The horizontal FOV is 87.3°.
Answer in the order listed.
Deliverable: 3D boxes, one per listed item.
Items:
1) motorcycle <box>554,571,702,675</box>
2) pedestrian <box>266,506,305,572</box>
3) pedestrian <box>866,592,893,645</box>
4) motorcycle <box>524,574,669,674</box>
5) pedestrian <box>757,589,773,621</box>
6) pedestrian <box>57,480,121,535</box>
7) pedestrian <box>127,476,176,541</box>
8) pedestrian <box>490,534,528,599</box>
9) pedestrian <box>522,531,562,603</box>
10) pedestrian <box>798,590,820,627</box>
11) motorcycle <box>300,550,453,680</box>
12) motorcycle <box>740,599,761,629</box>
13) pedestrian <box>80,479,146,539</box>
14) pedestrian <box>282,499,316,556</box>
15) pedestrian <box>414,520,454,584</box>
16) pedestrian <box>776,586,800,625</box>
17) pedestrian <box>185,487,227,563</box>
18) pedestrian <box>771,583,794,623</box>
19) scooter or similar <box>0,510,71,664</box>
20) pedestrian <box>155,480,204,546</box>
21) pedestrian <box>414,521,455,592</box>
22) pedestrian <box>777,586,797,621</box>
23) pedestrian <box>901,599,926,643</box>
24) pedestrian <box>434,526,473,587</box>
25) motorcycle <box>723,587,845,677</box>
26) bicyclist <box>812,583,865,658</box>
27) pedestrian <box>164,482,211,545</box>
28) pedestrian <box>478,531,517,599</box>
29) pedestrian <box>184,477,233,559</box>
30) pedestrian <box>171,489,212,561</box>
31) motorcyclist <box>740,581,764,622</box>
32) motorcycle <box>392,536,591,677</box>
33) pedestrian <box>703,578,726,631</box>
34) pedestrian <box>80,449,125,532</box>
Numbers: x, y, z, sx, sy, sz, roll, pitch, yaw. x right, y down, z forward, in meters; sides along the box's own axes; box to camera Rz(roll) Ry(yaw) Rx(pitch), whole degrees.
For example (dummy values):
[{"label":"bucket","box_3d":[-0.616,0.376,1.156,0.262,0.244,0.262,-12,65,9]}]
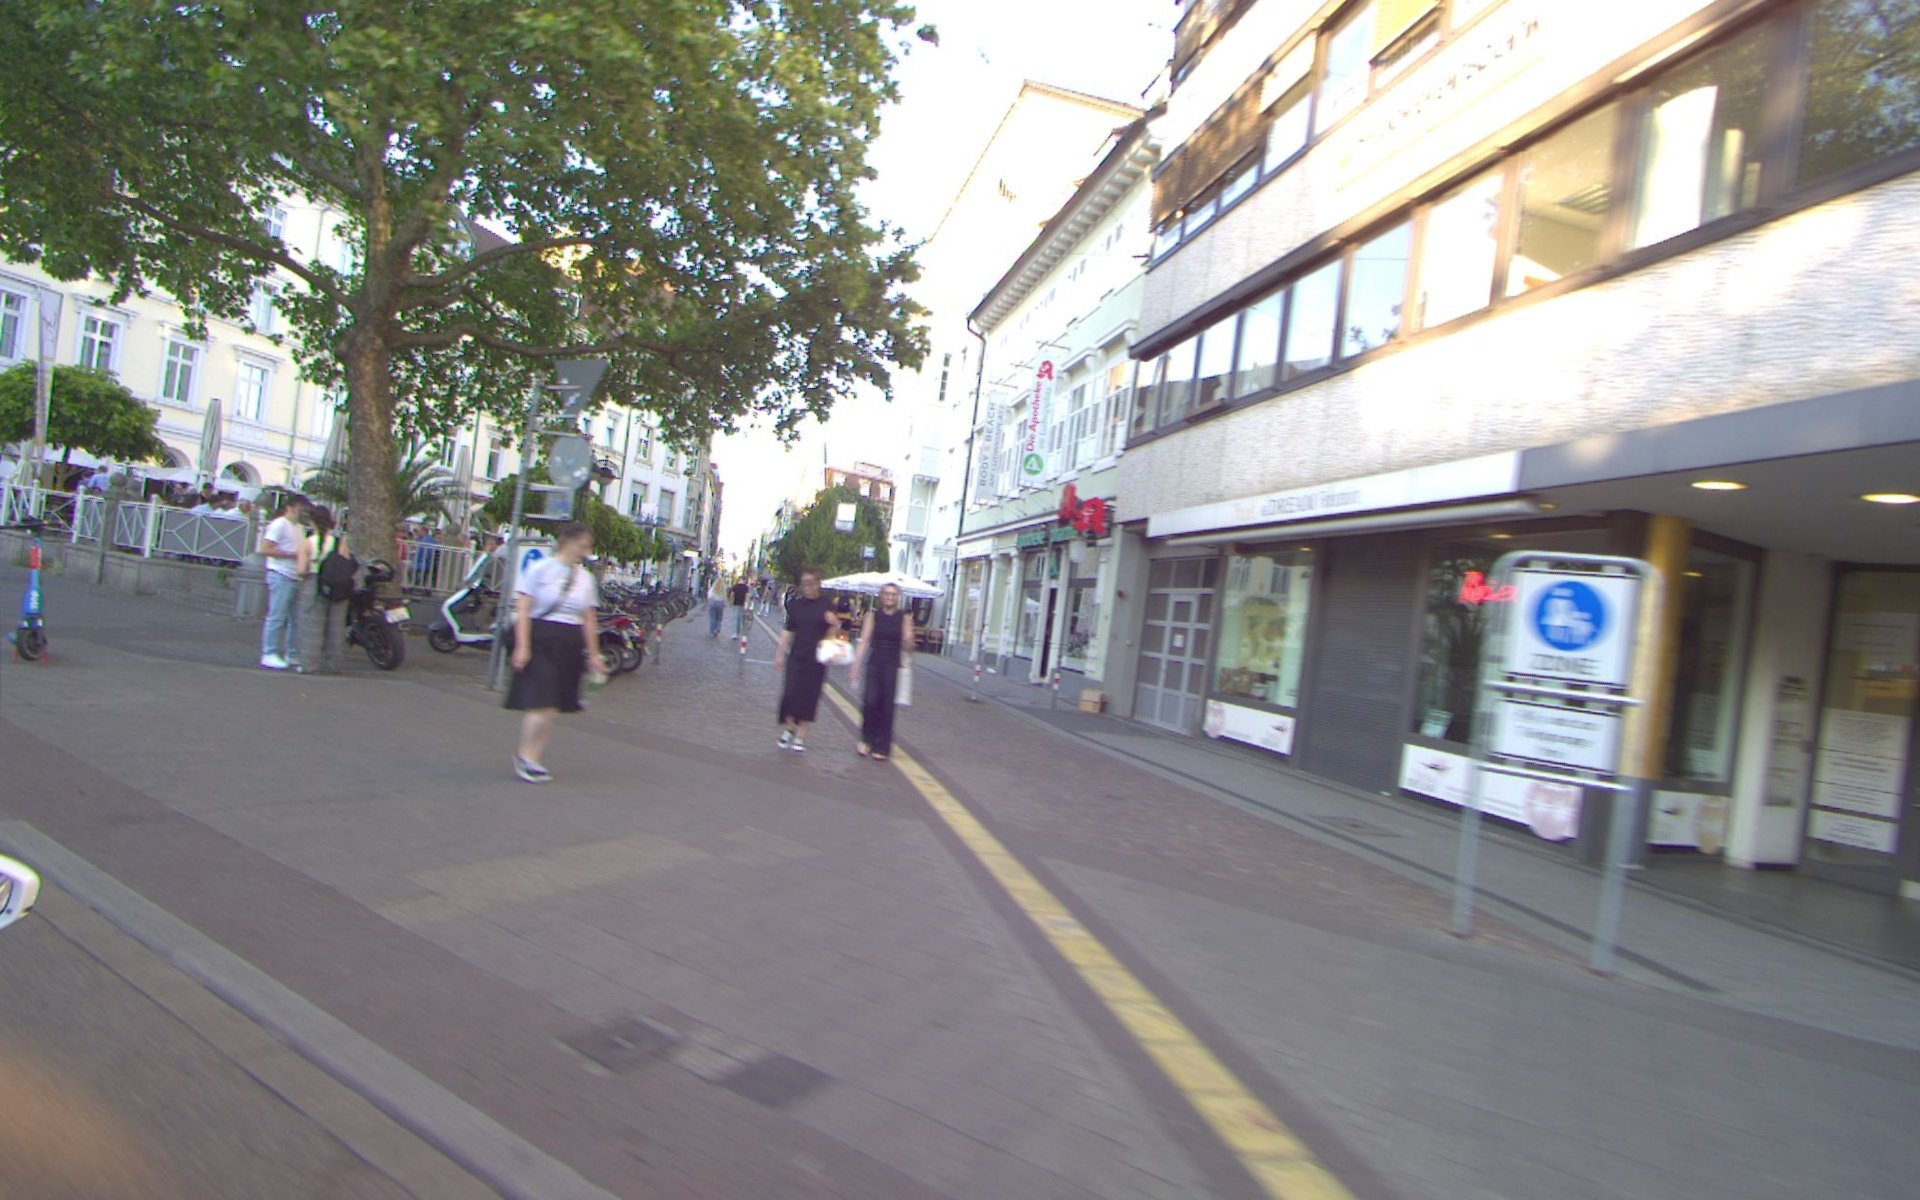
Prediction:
[{"label":"motorcycle","box_3d":[-5.027,0.349,15.256,1.921,1.297,0.563,8,0,6]},{"label":"pedestrian","box_3d":[-13.699,-1.237,20.434,0.472,1.256,0.533,7,-1,-44]},{"label":"pedestrian","box_3d":[-2.851,0.650,35.718,0.564,1.808,0.624,6,-1,24]},{"label":"motorcycle","box_3d":[-5.193,0.349,14.403,1.763,1.164,0.553,8,-1,6]},{"label":"pedestrian","box_3d":[-11.649,0.300,60.114,0.688,1.887,0.760,6,-1,-18]},{"label":"pedestrian","box_3d":[-22.892,-2.420,26.441,0.890,1.282,0.965,6,-1,32]},{"label":"pedestrian","box_3d":[-22.376,-2.523,27.859,0.649,1.663,0.758,6,-1,32]},{"label":"pedestrian","box_3d":[-9.455,-0.710,21.107,0.472,1.300,0.534,7,-1,-42]},{"label":"pedestrian","box_3d":[-8.598,-0.673,20.688,0.472,1.416,0.534,7,-1,-42]},{"label":"pedestrian","box_3d":[-7.963,0.458,53.107,0.743,1.831,0.756,6,-1,-33]},{"label":"motorcycle","box_3d":[-6.394,0.139,10.975,1.997,1.172,0.456,7,0,32]},{"label":"motorcycle","box_3d":[-7.796,0.520,37.476,0.345,1.046,1.575,6,-1,-23]},{"label":"pedestrian","box_3d":[-21.649,-2.322,25.715,0.890,1.352,0.965,6,-1,32]},{"label":"pedestrian","box_3d":[-21.231,-2.334,32.324,0.567,1.732,0.512,6,-1,0]},{"label":"pedestrian","box_3d":[-11.387,-1.042,21.782,0.469,1.300,0.537,5,-1,42]},{"label":"pedestrian","box_3d":[-8.632,0.272,50.431,0.752,1.853,0.670,5,-1,41]},{"label":"pedestrian","box_3d":[-14.480,-1.438,19.323,0.472,1.380,0.533,7,-1,-44]},{"label":"pedestrian","box_3d":[-9.402,0.170,53.299,0.831,1.992,0.757,6,-1,-31]},{"label":"scooter or similar","box_3d":[-8.285,-0.138,8.927,1.253,1.237,0.314,7,1,39]},{"label":"pedestrian","box_3d":[-21.345,-2.372,27.527,0.648,1.663,0.758,6,-1,32]},{"label":"pedestrian","box_3d":[-10.180,-0.846,19.473,0.472,1.300,0.534,7,-1,-42]},{"label":"pedestrian","box_3d":[-8.853,0.187,51.593,0.586,1.720,0.607,5,-1,41]},{"label":"pedestrian","box_3d":[-1.755,0.807,38.381,0.750,1.615,0.617,6,-1,1]},{"label":"pedestrian","box_3d":[-11.410,-0.982,22.653,0.469,1.300,0.537,5,-1,42]},{"label":"motorcycle","box_3d":[-3.090,0.561,17.758,1.923,1.297,0.562,8,-1,-5]},{"label":"bicyclist","box_3d":[-2.978,0.506,24.559,0.977,1.671,0.997,8,-2,-14]},{"label":"pedestrian","box_3d":[-21.957,-2.458,28.601,0.648,1.663,0.758,6,-1,32]},{"label":"pedestrian","box_3d":[-9.291,-0.710,20.203,0.472,1.300,0.534,7,-1,-42]},{"label":"pedestrian","box_3d":[-15.513,-1.687,20.774,0.617,1.590,0.623,7,-1,-44]},{"label":"pedestrian","box_3d":[-15.000,-1.462,19.645,0.472,1.320,0.533,7,-1,-44]},{"label":"motorcyclist","box_3d":[-7.781,0.069,37.685,0.592,1.457,0.599,7,-1,-28]},{"label":"motorcycle","box_3d":[-6.291,0.088,13.533,2.254,1.439,0.566,11,0,6]},{"label":"pedestrian","box_3d":[-7.885,0.139,32.333,0.528,1.630,0.602,6,-1,-10]},{"label":"pedestrian","box_3d":[-25.525,-3.255,29.962,0.569,2.332,0.615,6,-1,10]}]
